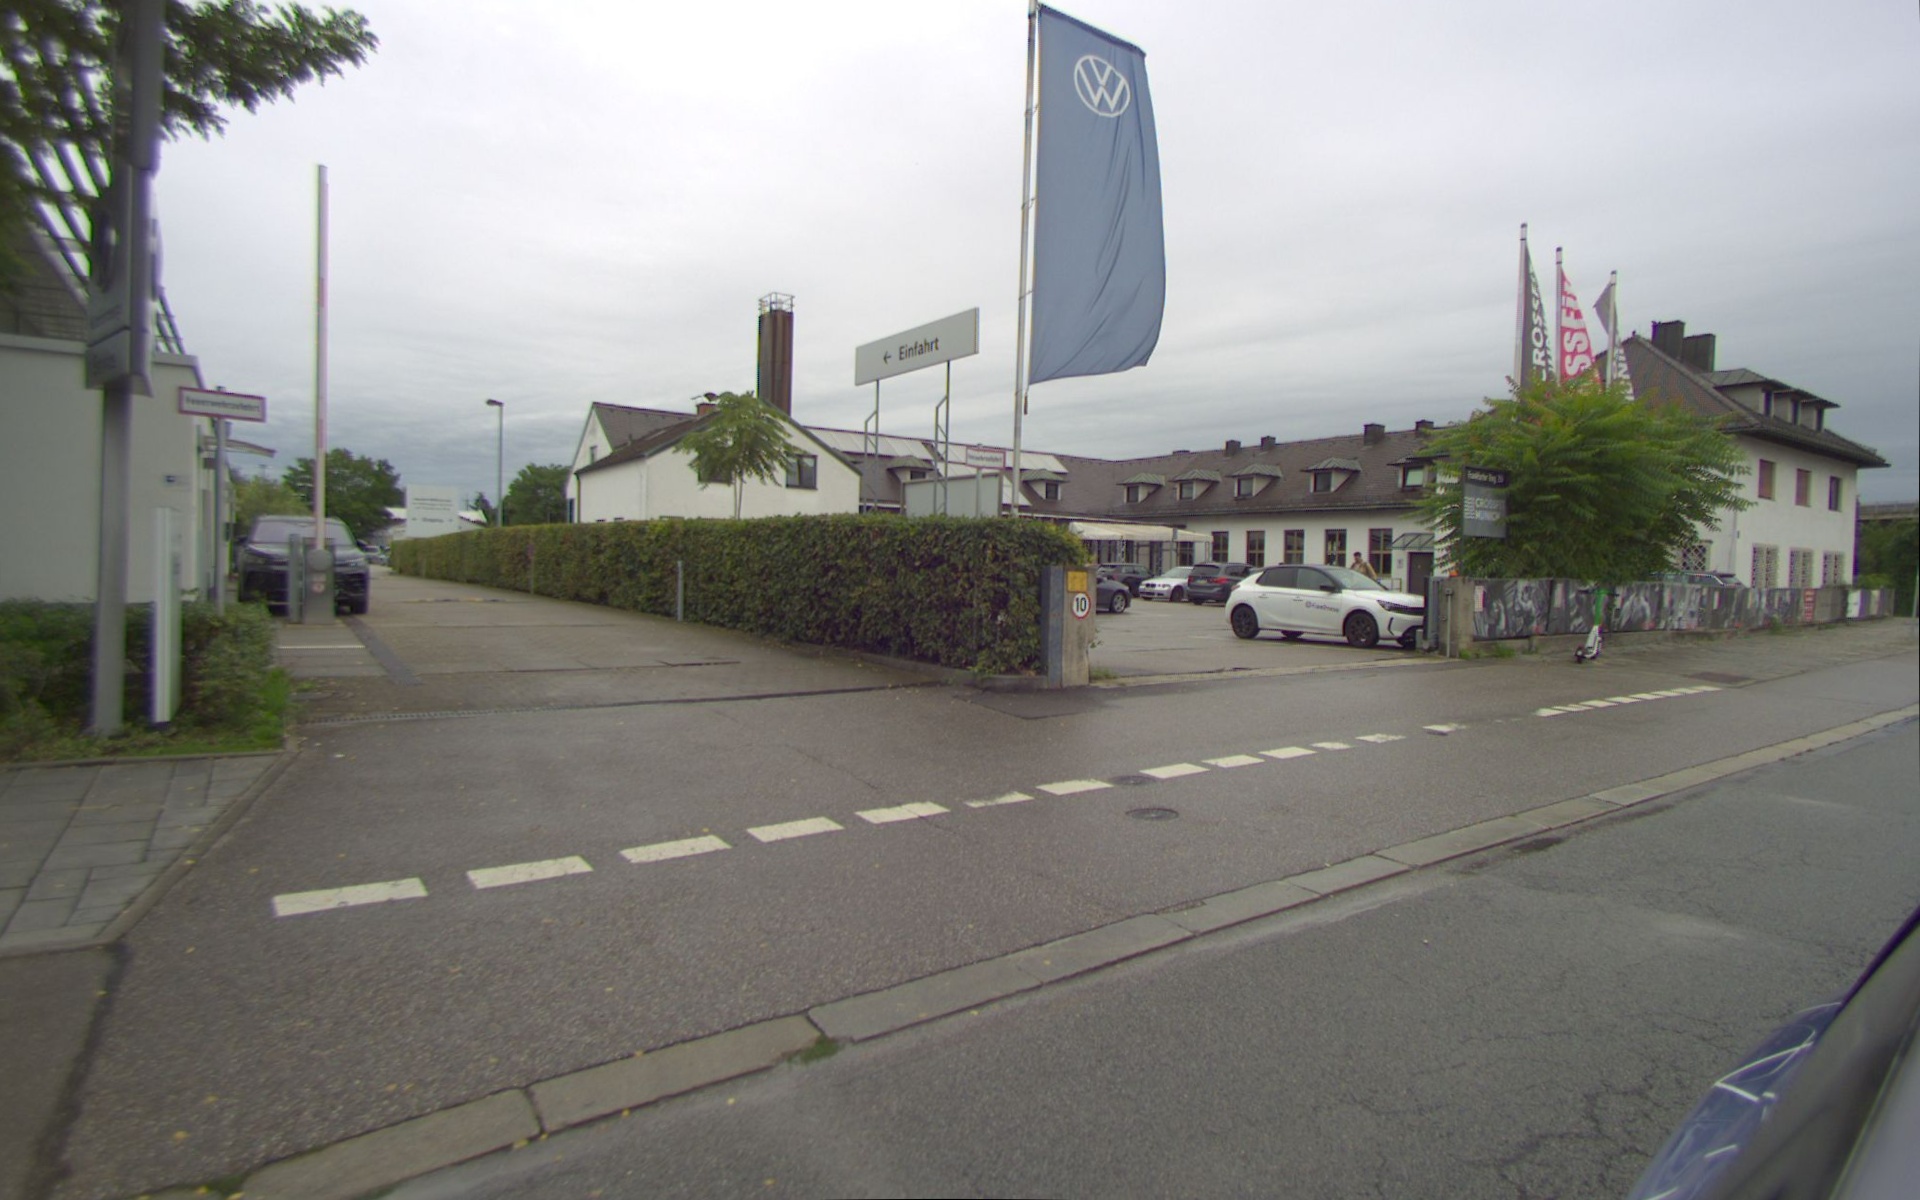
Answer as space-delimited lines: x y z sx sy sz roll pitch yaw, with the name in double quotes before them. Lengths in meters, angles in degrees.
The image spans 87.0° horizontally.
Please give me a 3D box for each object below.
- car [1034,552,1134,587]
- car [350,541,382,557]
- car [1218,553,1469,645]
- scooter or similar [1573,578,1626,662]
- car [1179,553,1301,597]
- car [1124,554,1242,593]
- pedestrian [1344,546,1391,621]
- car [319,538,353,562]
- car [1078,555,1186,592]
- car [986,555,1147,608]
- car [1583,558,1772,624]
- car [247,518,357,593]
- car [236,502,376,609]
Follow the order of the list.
"car" 5.602 -1.383 45.566 4.321 1.487 1.927 0 2 -36
"car" -63.818 -5.466 108.731 1.821 1.601 4.288 1 2 -14
"car" 6.954 -0.095 18.712 1.759 1.478 4.028 0 3 -35
"scooter or similar" 10.340 0.288 16.345 0.397 1.237 1.616 6 6 41
"car" 10.517 -0.927 37.956 4.450 1.530 1.929 0 2 -33
"car" 8.901 -1.045 40.301 4.540 1.487 1.929 0 2 -33
"pedestrian" 10.561 -0.437 26.232 0.915 1.925 0.734 0 2 -40
"car" -44.625 -3.573 72.329 1.825 1.601 4.279 0 2 -36
"car" 7.352 -1.133 43.103 4.462 1.487 1.927 0 2 -36
"car" 3.142 -0.550 29.529 4.531 1.404 1.927 0 2 -35
"car" 20.908 -0.324 29.644 1.891 1.747 4.109 0 2 -37
"car" -14.760 -1.032 22.608 1.845 1.491 4.280 1 3 -36
"car" -11.491 -0.804 17.660 1.825 1.601 4.280 1 3 -36
